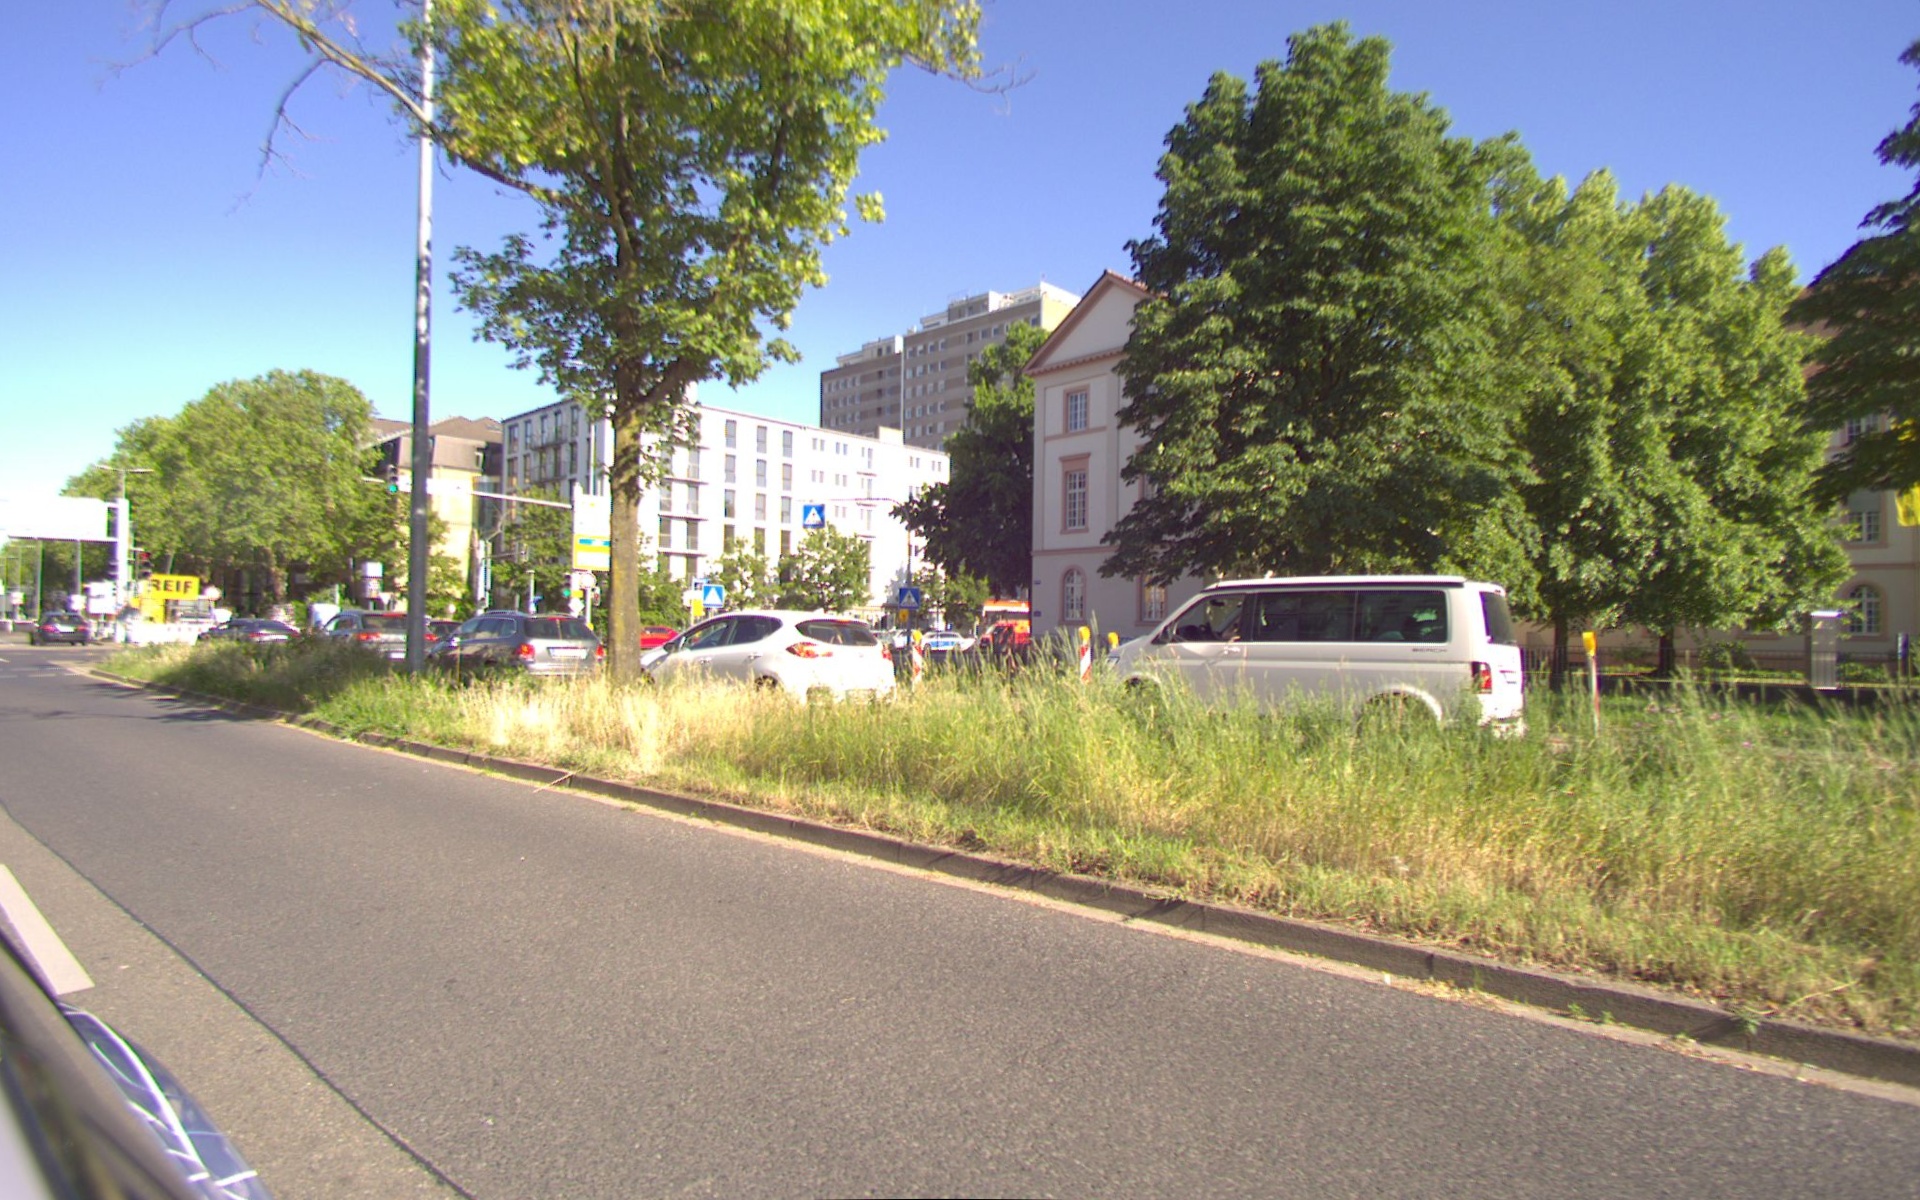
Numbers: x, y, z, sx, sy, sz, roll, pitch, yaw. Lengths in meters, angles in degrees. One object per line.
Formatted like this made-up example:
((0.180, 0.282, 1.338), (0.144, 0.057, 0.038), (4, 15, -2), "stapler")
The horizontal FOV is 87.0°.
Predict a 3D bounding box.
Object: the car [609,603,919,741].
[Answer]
((-2.682, 0.841, 13.301), (4.202, 1.530, 1.777), (-1, -2, 41), "car")

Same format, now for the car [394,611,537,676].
((-12.923, 1.064, 26.346), (4.344, 1.530, 1.777), (0, -1, 41), "car")

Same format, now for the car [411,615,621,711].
((-8.085, 1.050, 18.248), (4.360, 1.530, 1.777), (-1, -1, 41), "car")

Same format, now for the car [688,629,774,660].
((-13.632, 2.612, 60.443), (4.637, 1.630, 1.922), (1, 1, -40), "car")

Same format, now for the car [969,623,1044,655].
((3.557, 2.910, 76.386), (5.807, 2.247, 1.922), (1, 1, -41), "car")

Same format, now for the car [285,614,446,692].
((-13.284, 1.091, 22.515), (4.344, 1.530, 1.777), (0, -1, 41), "car")

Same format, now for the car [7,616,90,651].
((-43.701, 1.584, 48.522), (4.264, 1.598, 1.843), (0, -2, 32), "car")

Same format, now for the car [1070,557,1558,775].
((3.999, 0.663, 11.985), (5.014, 2.043, 2.210), (-1, -2, 41), "car")

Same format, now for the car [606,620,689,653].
((-17.367, 2.000, 56.243), (3.937, 1.630, 1.922), (1, 1, -40), "car")

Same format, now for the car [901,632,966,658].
((-1.837, 3.175, 71.551), (1.919, 1.630, 4.644), (3, 1, 43), "car")

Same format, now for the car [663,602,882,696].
((-3.498, 0.831, 18.519), (4.077, 1.530, 1.777), (-1, -2, 41), "car")

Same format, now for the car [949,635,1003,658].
((1.232, 3.588, 78.757), (3.939, 1.630, 1.921), (1, 1, -42), "car")
